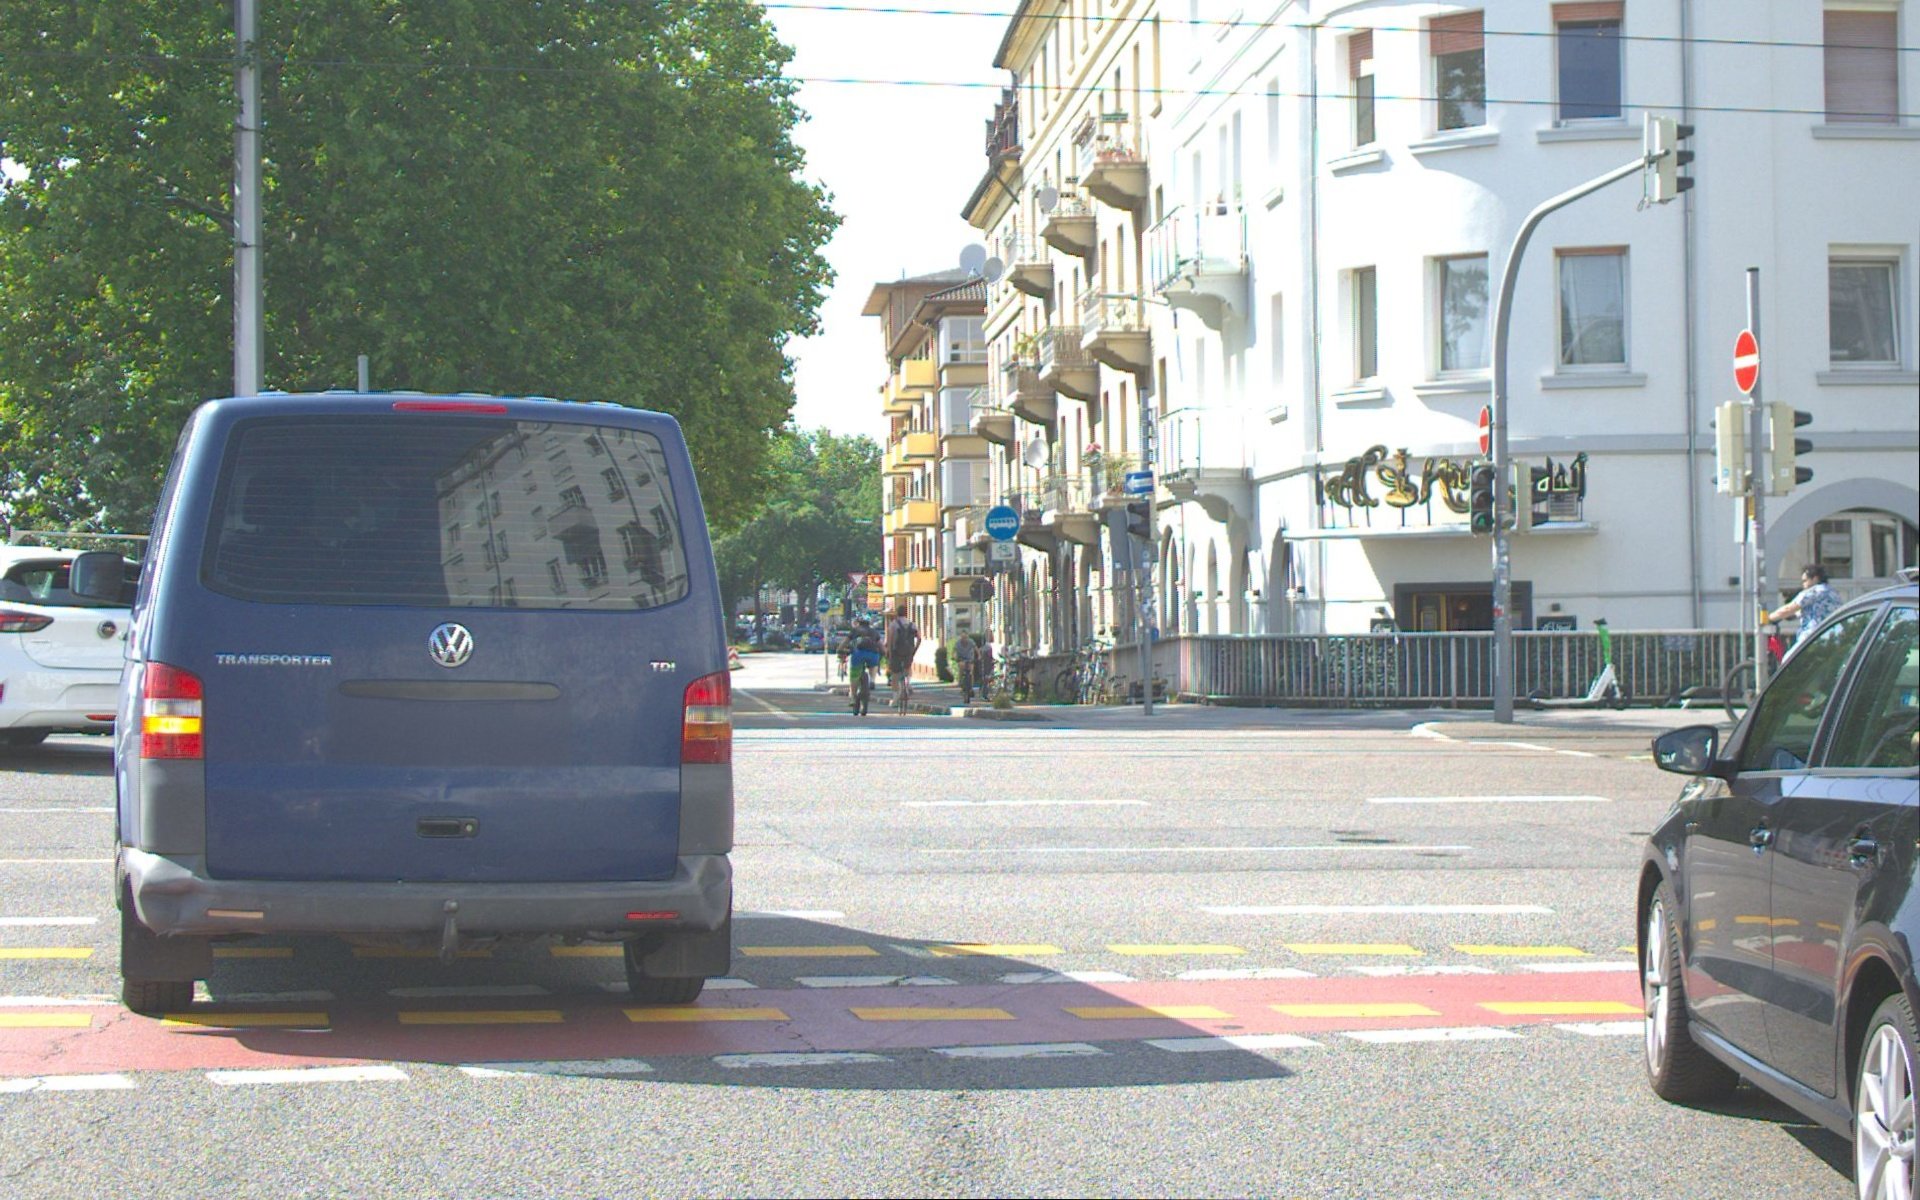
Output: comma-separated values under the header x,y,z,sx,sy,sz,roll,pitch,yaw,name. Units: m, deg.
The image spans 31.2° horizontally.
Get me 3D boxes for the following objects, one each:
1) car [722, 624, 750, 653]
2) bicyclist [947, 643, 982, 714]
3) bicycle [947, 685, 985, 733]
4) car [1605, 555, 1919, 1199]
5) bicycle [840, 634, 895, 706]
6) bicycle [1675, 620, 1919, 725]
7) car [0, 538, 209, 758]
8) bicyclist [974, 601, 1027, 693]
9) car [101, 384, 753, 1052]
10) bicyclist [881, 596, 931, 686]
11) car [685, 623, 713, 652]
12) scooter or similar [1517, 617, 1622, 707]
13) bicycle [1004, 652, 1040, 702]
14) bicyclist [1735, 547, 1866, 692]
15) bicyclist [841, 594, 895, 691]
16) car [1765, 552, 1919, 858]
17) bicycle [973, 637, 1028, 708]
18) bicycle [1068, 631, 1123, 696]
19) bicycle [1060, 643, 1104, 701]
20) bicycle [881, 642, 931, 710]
x,y,z,sx,sy,sz,roll,pitch,yaw,name
-13.301,2.271,203.973,1.626,1.617,3.696,1,1,-4,car
0.104,1.759,77.157,0.708,1.544,0.784,-2,0,-3,bicyclist
0.121,2.447,77.164,0.708,0.987,1.820,-2,1,-4,bicycle
2.609,0.653,7.912,1.589,1.488,3.662,1,1,1,car
-1.483,1.124,55.618,0.837,1.133,2.858,1,-1,-1,bicycle
8.273,0.707,34.049,0.865,0.986,2.245,2,-1,-43,bicycle
-6.604,0.333,23.599,1.717,1.400,3.412,1,-1,-33,car
0.674,0.779,57.003,0.837,1.503,0.953,1,-1,-1,bicyclist
-2.020,0.309,11.968,1.815,1.899,4.056,1,1,-15,car
-0.923,0.711,59.174,0.837,1.532,1.023,1,-1,-1,bicyclist
-15.681,2.243,206.365,1.626,1.617,3.696,1,1,-4,car
7.691,0.776,43.413,1.301,1.114,0.339,0,0,9,scooter or similar
1.372,1.708,76.404,0.680,1.071,2.293,0,0,-2,bicycle
8.316,0.194,34.017,0.865,1.411,0.916,2,-1,-43,bicyclist
-1.482,0.687,55.502,0.837,1.532,1.023,1,-1,-1,bicyclist
6.259,0.555,18.985,3.645,1.550,1.696,0,2,-42,car
0.665,1.196,57.095,0.837,1.133,2.858,1,-1,-1,bicycle
2.422,1.143,61.676,0.837,1.133,2.858,1,-1,-1,bicycle
2.319,1.361,65.517,0.680,1.071,2.293,0,0,-2,bicycle
-0.921,1.294,59.229,0.837,1.133,2.858,1,-1,0,bicycle
